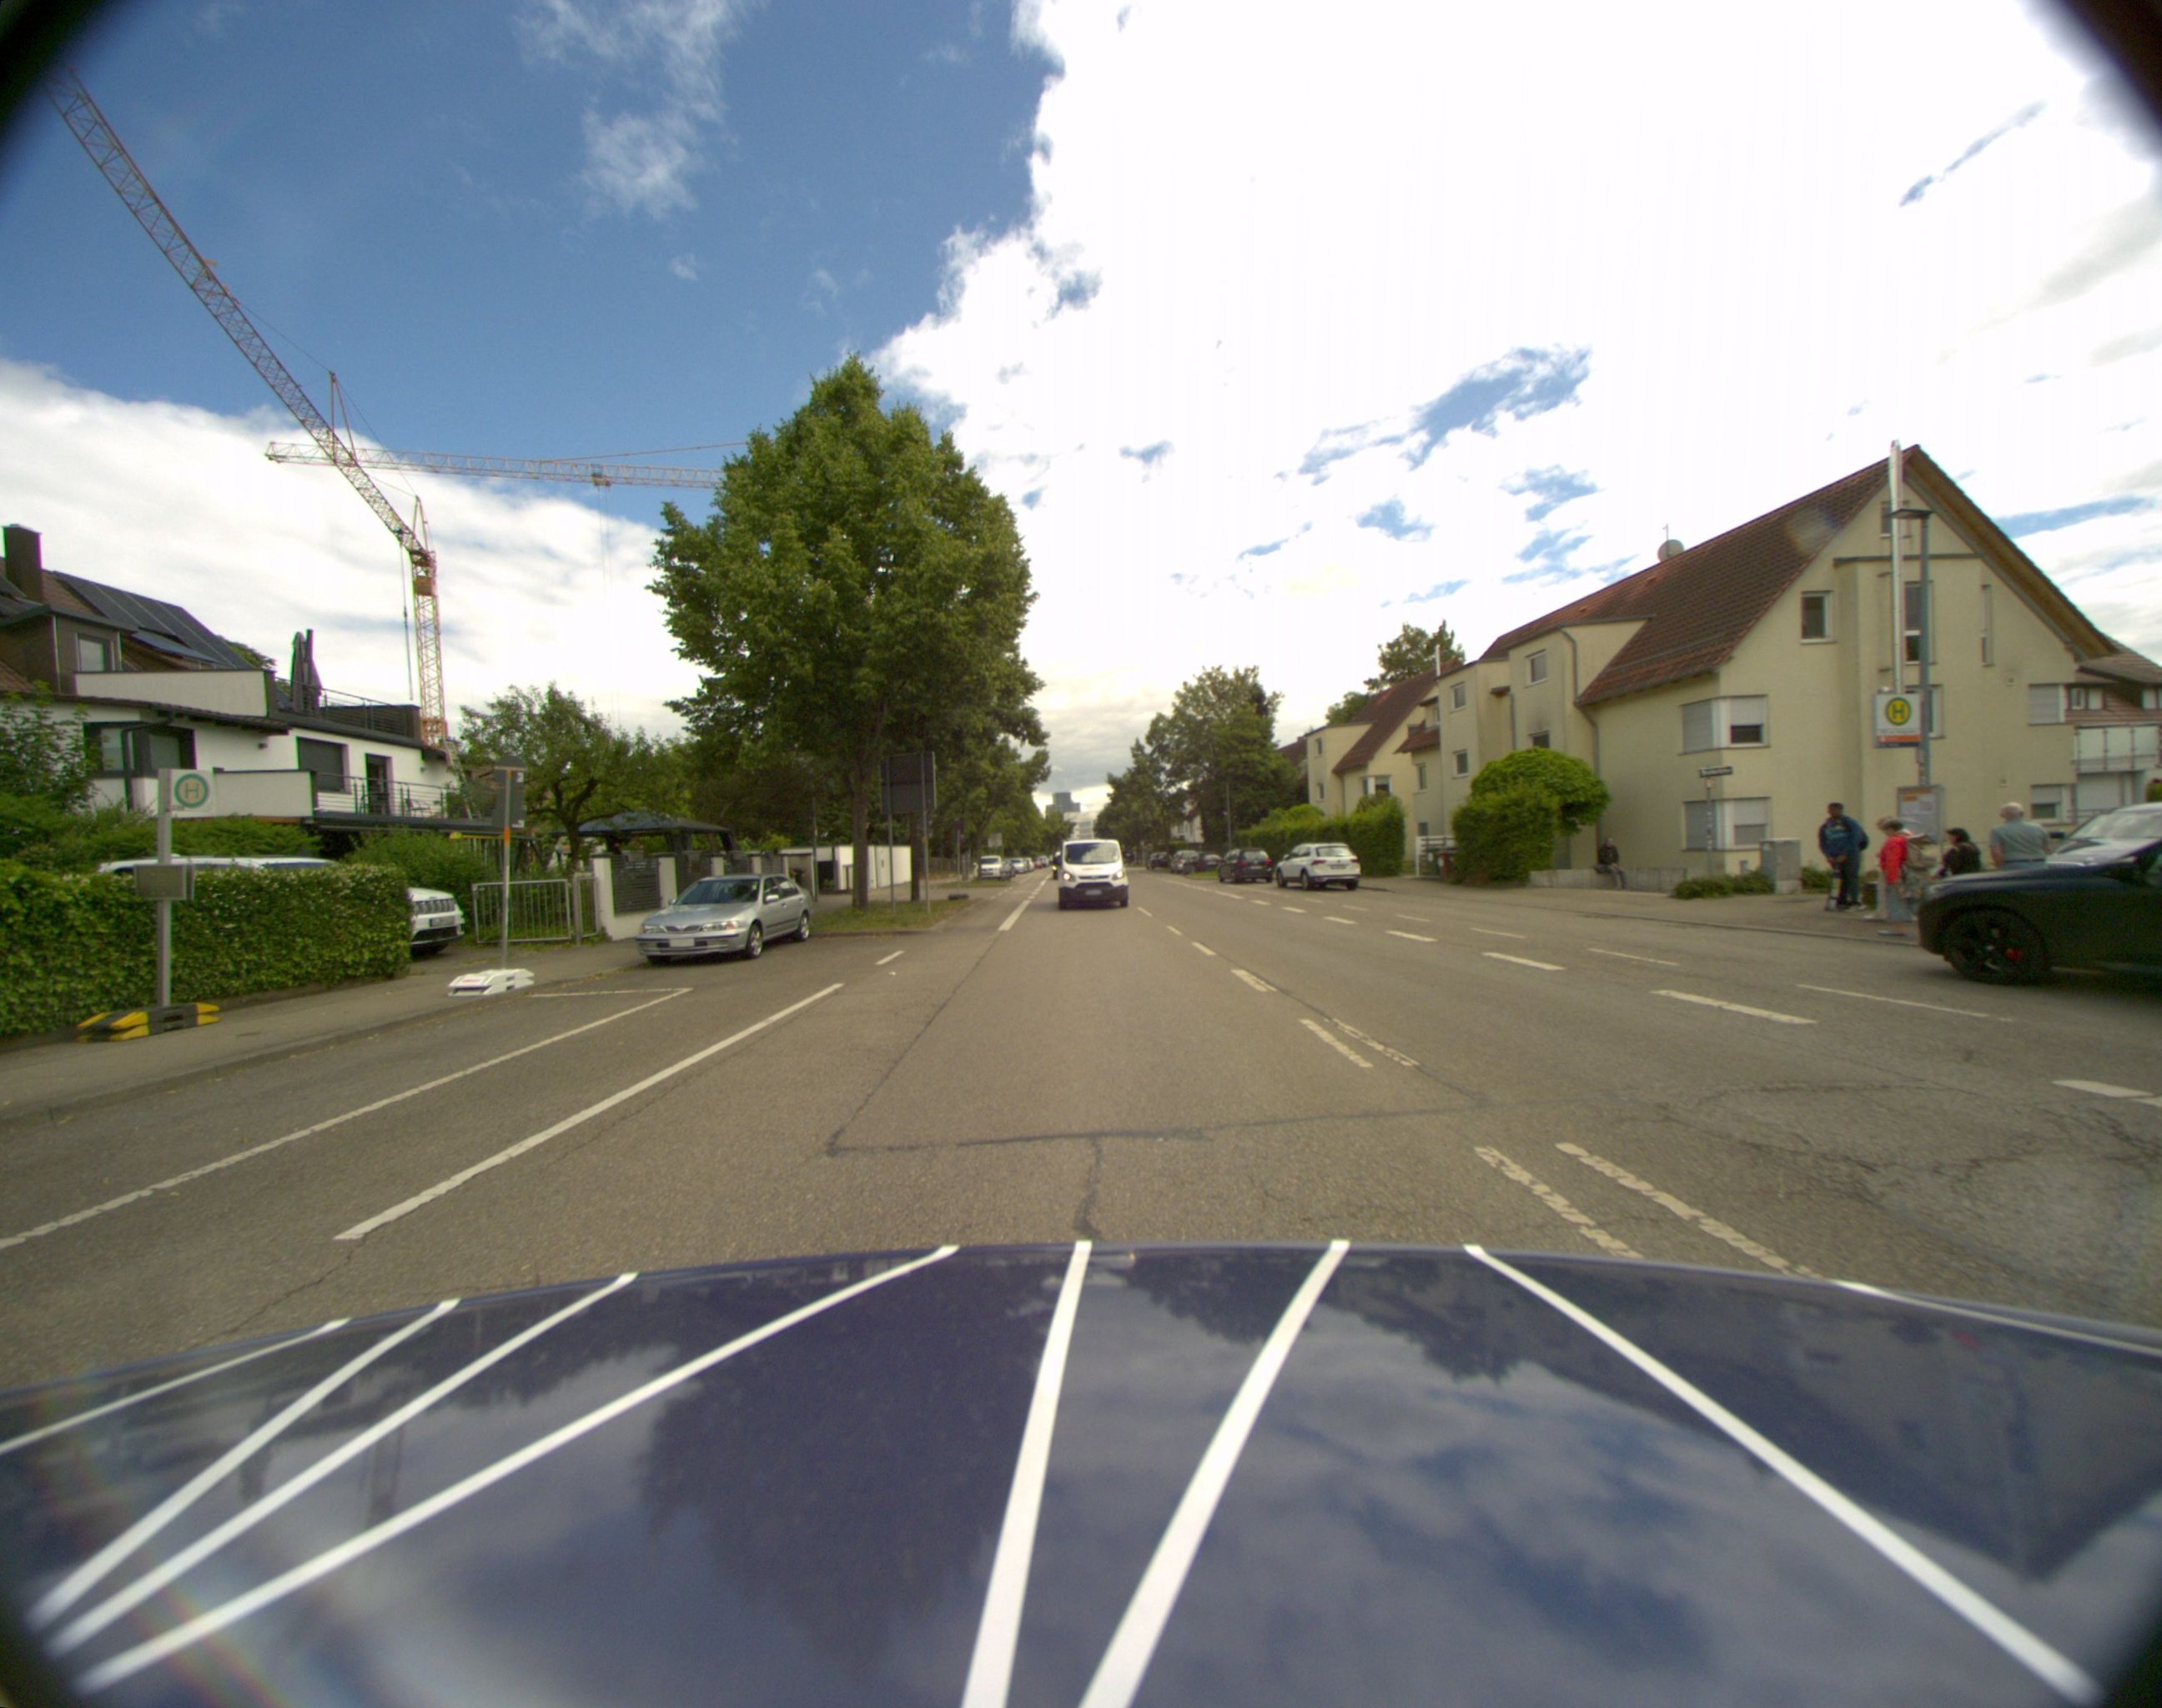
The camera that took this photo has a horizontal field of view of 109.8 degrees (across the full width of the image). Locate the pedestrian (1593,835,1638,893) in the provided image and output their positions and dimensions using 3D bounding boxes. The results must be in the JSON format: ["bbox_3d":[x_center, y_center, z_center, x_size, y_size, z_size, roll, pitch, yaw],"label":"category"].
[{"bbox_3d":[14.953,0.272,21.285,0.672,1.551,0.836,-2,1,4],"label":"pedestrian"}]

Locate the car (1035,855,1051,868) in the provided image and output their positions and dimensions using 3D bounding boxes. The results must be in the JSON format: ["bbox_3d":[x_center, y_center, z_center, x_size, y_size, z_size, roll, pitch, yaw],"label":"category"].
[{"bbox_3d":[-5.306,1.020,106.028,1.820,1.506,4.679,-4,1,0],"label":"car"}]

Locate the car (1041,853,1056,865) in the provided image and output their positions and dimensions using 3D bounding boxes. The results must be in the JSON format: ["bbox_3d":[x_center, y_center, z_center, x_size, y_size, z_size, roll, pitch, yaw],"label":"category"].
[{"bbox_3d":[-5.271,0.797,124.255,1.998,1.805,4.826,-3,1,1],"label":"car"}]

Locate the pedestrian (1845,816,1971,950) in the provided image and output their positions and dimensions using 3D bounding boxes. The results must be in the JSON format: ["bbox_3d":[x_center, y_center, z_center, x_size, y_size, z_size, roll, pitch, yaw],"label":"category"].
[{"bbox_3d":[11.074,0.369,10.198,0.789,1.654,0.754,-6,1,-8],"label":"pedestrian"}]

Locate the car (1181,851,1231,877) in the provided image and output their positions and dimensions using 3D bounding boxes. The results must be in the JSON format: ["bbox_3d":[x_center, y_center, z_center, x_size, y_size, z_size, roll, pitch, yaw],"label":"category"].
[{"bbox_3d":[7.704,0.565,47.397,1.999,1.476,4.888,-1,0,-4],"label":"car"}]

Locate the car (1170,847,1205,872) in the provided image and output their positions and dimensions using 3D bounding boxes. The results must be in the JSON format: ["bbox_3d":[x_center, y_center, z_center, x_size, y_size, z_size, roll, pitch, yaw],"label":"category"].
[{"bbox_3d":[7.360,0.376,52.944,1.723,1.604,3.909,-2,0,-2],"label":"car"}]

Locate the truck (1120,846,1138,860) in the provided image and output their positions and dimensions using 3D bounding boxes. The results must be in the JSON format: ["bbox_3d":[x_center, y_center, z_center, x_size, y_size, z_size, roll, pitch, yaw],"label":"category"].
[{"bbox_3d":[7.329,-0.216,116.588,2.429,2.031,5.994,-2,0,0],"label":"truck"}]

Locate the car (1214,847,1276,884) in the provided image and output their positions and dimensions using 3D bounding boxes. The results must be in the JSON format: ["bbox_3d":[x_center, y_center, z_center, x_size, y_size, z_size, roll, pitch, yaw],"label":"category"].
[{"bbox_3d":[7.421,0.488,34.730,1.681,1.543,4.271,-2,0,-3],"label":"car"}]

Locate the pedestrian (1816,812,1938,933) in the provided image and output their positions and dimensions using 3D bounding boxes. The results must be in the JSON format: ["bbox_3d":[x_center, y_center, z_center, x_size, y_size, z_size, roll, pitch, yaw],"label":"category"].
[{"bbox_3d":[11.799,0.266,11.293,0.789,1.654,0.881,-6,1,-8],"label":"pedestrian"}]

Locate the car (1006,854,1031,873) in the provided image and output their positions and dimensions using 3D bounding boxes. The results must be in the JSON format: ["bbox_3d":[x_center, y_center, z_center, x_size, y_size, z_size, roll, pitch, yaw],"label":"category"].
[{"bbox_3d":[-5.708,0.844,69.920,1.866,1.602,4.685,-4,1,0],"label":"car"}]

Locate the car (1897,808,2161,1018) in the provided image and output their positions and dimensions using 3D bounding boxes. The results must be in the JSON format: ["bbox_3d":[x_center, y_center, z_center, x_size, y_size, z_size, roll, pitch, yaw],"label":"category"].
[{"bbox_3d":[9.744,0.457,5.890,1.729,1.715,4.563,-3,0,-4],"label":"car"}]

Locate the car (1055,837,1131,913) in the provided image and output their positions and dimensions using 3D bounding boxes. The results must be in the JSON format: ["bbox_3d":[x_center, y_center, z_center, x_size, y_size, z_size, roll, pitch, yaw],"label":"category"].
[{"bbox_3d":[0.374,0.528,23.169,1.998,2.002,5.188,-2,1,1],"label":"car"}]

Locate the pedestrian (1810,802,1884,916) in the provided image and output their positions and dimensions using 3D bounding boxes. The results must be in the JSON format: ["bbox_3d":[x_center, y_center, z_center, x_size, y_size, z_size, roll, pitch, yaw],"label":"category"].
[{"bbox_3d":[12.541,0.083,12.452,0.505,1.795,0.671,-2,1,-2],"label":"pedestrian"}]

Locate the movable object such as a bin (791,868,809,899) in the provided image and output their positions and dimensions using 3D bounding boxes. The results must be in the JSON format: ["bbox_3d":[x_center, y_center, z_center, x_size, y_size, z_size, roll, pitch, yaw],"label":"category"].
[{"bbox_3d":[-9.803,1.024,26.501,0.437,1.016,0.454,-2,1,0],"label":"movable object such as a bin"}]

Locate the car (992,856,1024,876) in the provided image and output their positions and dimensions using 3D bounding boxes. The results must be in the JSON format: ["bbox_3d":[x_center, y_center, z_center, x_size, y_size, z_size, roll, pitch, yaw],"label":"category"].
[{"bbox_3d":[-5.673,0.918,59.624,1.868,1.408,4.602,-2,0,1],"label":"car"}]

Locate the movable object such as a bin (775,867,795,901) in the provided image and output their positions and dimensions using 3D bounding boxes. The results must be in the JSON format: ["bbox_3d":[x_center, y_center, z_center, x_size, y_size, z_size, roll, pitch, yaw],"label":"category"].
[{"bbox_3d":[-9.895,1.003,25.395,0.437,1.103,0.454,-2,1,0],"label":"movable object such as a bin"}]

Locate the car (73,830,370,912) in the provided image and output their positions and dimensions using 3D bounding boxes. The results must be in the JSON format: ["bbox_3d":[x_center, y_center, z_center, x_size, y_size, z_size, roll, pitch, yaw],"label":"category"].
[{"bbox_3d":[-23.304,0.407,20.845,5.200,1.893,2.047,-3,1,-9],"label":"car"}]

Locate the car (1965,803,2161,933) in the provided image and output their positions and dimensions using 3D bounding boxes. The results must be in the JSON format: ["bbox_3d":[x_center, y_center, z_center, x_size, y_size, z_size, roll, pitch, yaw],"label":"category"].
[{"bbox_3d":[15.463,0.082,10.900,4.530,1.545,2.033,-4,1,-18],"label":"car"}]

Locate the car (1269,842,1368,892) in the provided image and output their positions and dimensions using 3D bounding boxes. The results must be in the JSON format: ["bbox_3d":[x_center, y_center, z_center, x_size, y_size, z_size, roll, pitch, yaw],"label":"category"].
[{"bbox_3d":[8.515,0.440,27.689,1.826,1.624,4.584,-2,0,-4],"label":"car"}]

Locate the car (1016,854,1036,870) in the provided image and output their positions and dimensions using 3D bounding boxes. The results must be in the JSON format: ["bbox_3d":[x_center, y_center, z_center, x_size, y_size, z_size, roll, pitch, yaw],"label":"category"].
[{"bbox_3d":[-5.845,0.812,81.397,1.772,1.501,4.030,-2,1,1],"label":"car"}]

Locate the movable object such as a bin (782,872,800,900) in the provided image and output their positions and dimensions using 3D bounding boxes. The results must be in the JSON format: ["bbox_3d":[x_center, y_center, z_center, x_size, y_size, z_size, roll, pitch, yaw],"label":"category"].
[{"bbox_3d":[-9.907,1.091,25.928,0.437,0.915,0.395,-2,1,0],"label":"movable object such as a bin"}]

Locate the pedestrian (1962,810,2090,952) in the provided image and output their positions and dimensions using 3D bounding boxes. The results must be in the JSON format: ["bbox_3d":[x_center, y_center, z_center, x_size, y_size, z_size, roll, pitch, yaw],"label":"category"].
[{"bbox_3d":[11.830,0.327,9.532,0.789,1.654,0.591,-5,1,-3],"label":"pedestrian"}]

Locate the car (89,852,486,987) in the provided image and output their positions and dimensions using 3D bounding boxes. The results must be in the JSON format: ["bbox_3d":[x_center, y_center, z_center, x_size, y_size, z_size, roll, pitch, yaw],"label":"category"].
[{"bbox_3d":[-12.348,0.943,12.104,3.998,1.812,1.999,-2,1,-4],"label":"car"}]

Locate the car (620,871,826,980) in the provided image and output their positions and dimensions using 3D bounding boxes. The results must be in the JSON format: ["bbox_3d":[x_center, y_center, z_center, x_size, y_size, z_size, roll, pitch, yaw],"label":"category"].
[{"bbox_3d":[-6.129,1.133,13.645,1.616,1.369,4.385,-2,2,-1],"label":"car"}]

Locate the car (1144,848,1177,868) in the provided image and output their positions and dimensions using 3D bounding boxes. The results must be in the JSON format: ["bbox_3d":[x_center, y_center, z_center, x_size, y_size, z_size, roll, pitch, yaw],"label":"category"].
[{"bbox_3d":[6.952,0.370,66.909,2.101,1.637,5.037,-1,0,-3],"label":"car"}]

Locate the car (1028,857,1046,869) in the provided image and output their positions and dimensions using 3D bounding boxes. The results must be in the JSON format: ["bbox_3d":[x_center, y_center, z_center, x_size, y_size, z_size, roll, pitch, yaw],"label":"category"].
[{"bbox_3d":[-5.599,1.097,96.532,1.864,1.405,4.443,-4,0,1],"label":"car"}]

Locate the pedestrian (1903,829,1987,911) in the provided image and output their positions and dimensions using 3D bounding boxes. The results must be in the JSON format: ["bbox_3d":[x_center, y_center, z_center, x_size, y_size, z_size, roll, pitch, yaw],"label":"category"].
[{"bbox_3d":[14.391,0.259,12.672,0.589,1.305,0.706,-2,1,0],"label":"pedestrian"}]

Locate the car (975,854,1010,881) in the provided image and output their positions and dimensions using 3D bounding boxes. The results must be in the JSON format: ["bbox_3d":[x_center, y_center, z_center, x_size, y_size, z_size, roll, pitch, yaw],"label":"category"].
[{"bbox_3d":[-5.852,0.853,50.703,1.905,1.633,4.115,-2,1,-1],"label":"car"}]
